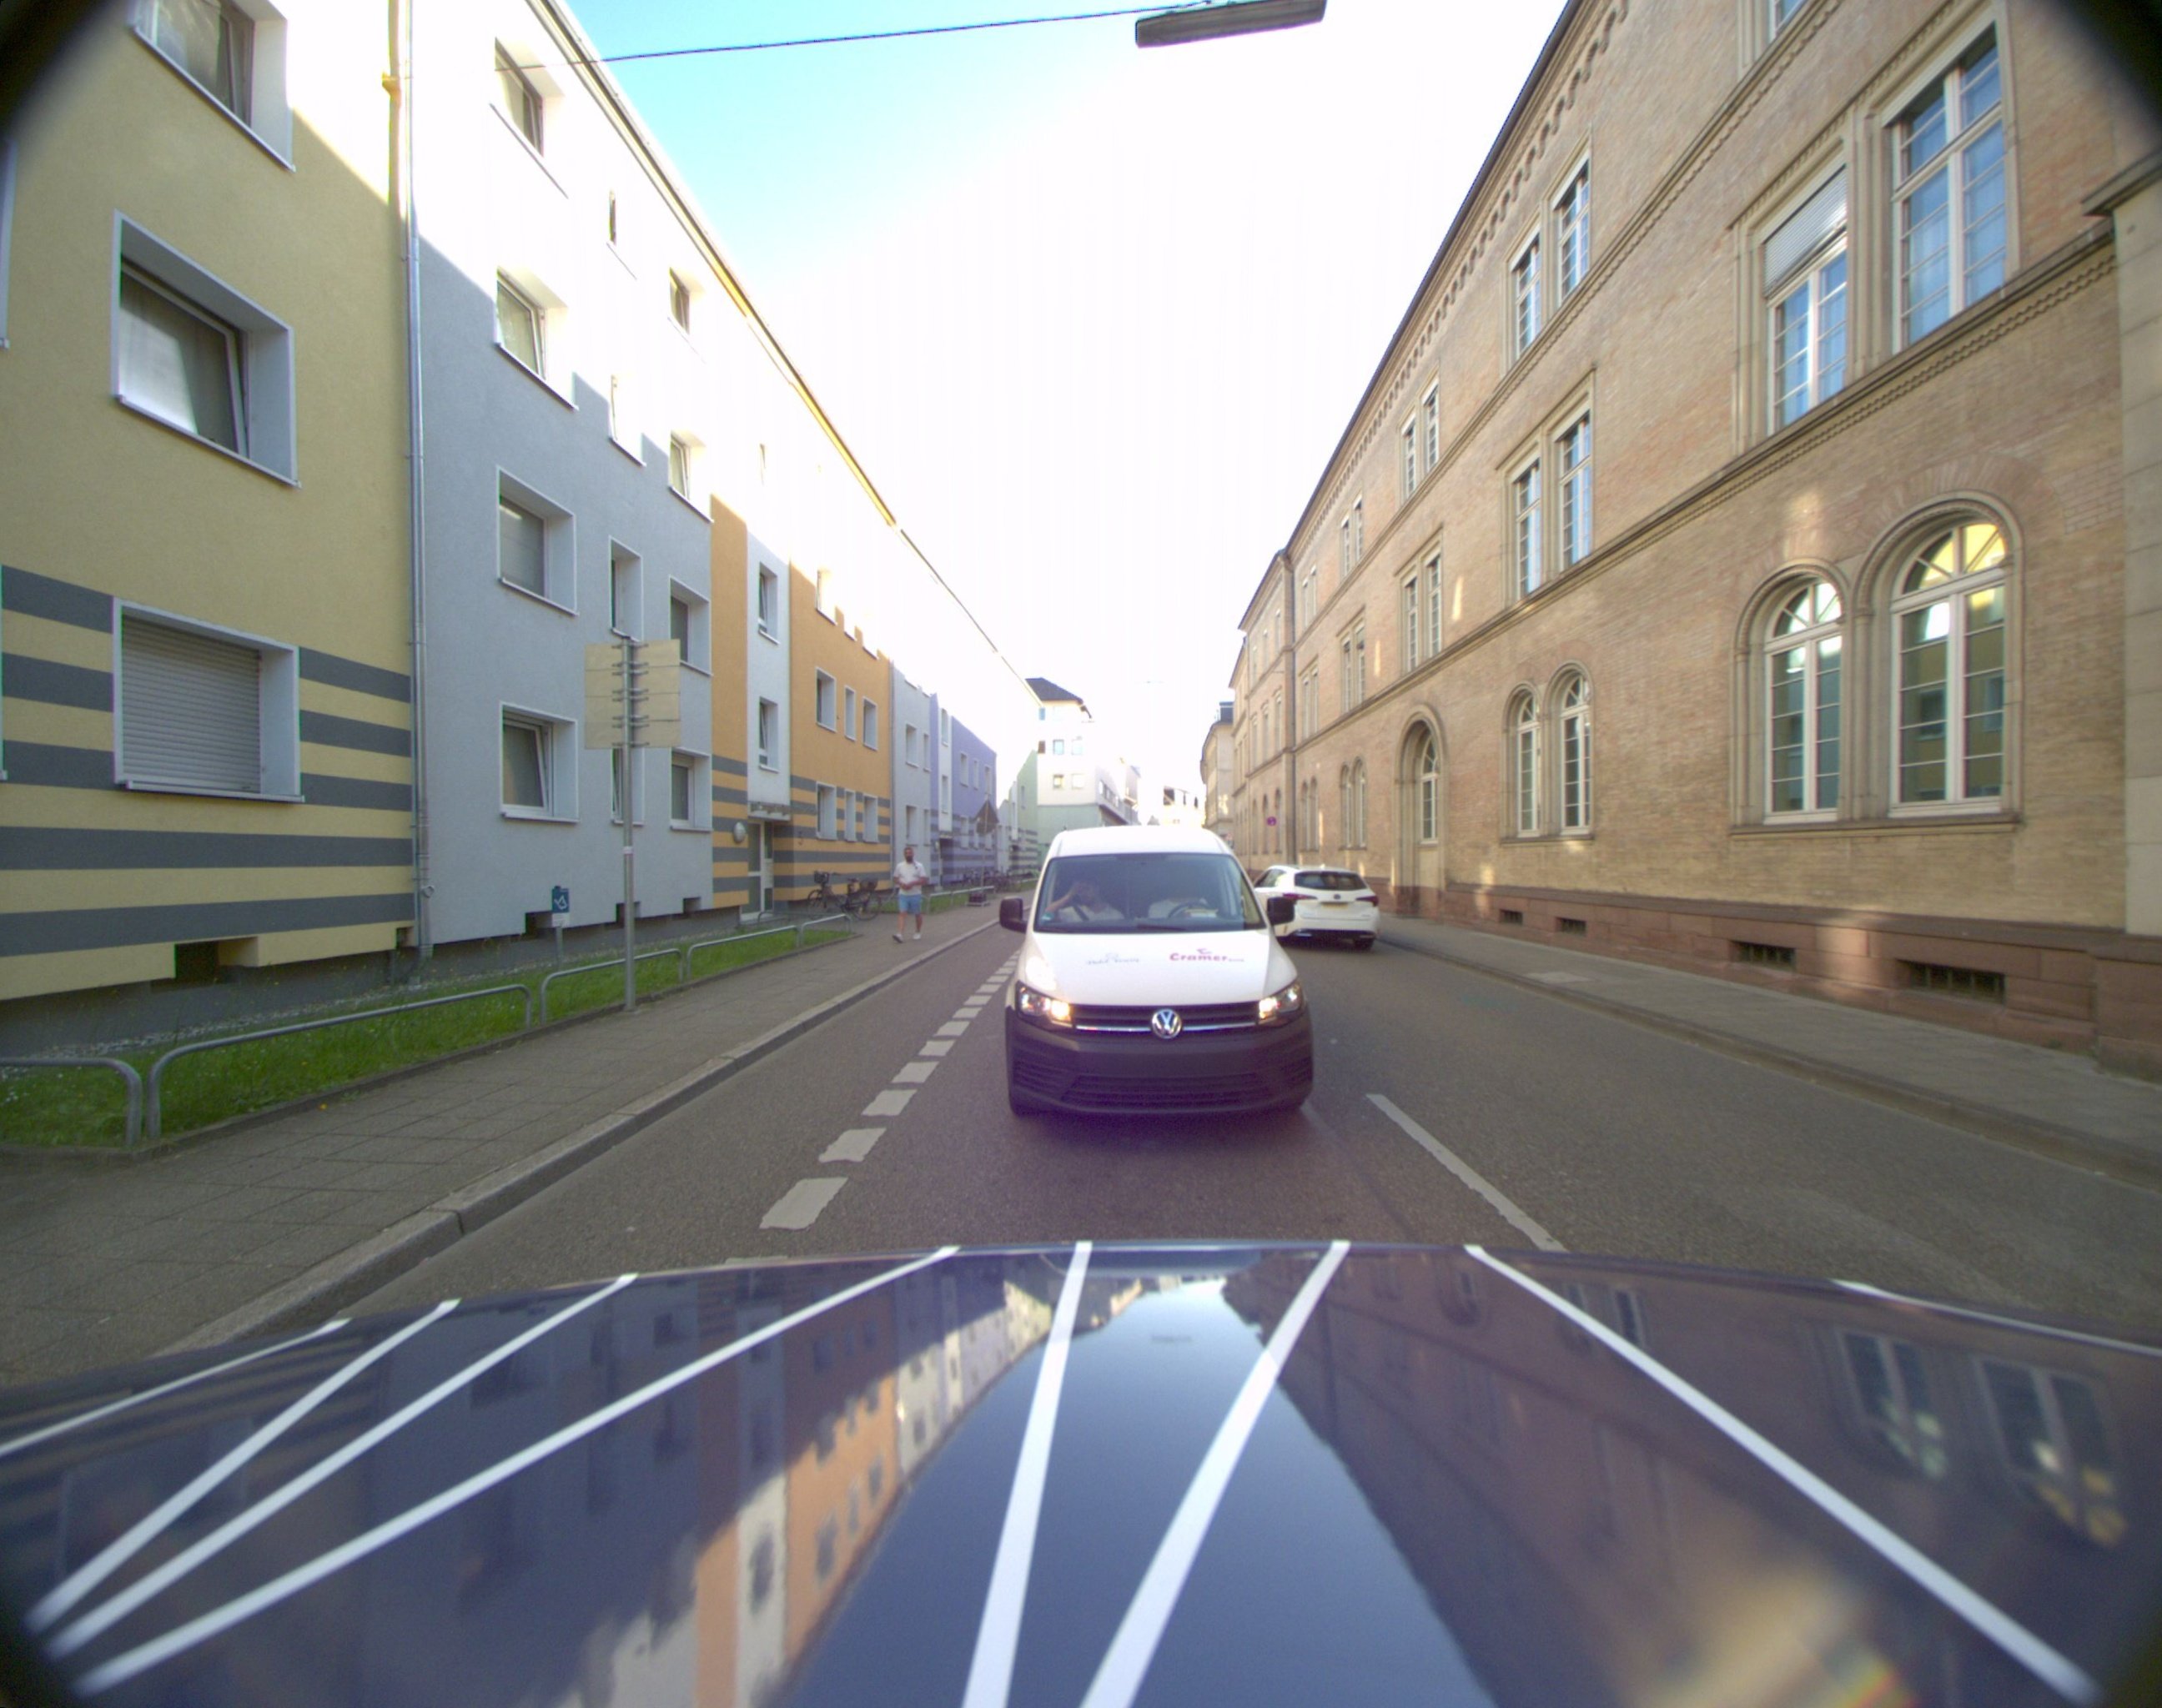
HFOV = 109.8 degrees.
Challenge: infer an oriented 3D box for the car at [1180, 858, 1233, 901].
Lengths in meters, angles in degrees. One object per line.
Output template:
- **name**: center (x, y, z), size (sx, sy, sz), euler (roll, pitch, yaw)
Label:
- **car**: center (5.043, 0.987, 30.973), size (1.689, 1.573, 4.276), euler (2, 0, 4)

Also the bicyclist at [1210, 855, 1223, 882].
- **bicyclist**: center (7.262, 0.798, 40.766), size (0.604, 1.434, 0.578), euler (0, 0, 4)

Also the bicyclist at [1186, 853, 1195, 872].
- **bicyclist**: center (9.480, 0.718, 65.517), size (0.651, 1.558, 0.961), euler (2, 0, 4)

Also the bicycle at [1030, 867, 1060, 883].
- **bicycle**: center (-2.233, 1.340, 47.637), size (1.775, 0.934, 0.584), euler (1, 1, 7)

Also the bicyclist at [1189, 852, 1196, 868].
- **bicyclist**: center (10.853, 0.551, 74.118), size (0.651, 1.500, 1.112), euler (2, 0, 9)

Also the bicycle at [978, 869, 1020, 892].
- **bicycle**: center (-3.656, 1.163, 33.845), size (1.775, 0.934, 0.584), euler (1, 1, 7)

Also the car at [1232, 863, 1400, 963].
- **car**: center (4.213, 0.968, 14.443), size (1.891, 1.467, 4.545), euler (2, 0, 2)

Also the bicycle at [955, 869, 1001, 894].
- **bicycle**: center (-4.323, 1.134, 31.886), size (1.775, 0.990, 0.584), euler (1, 1, 7)

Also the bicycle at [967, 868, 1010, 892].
- **bicycle**: center (-4.046, 1.125, 33.229), size (1.775, 0.990, 0.584), euler (1, 1, 7)

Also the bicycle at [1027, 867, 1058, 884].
- **bicycle**: center (-2.312, 1.308, 46.100), size (1.775, 0.934, 0.584), euler (1, 1, 7)

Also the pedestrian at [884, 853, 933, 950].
- **pedestrian**: center (-3.057, 0.825, 13.546), size (0.644, 1.662, 0.834), euler (1, 0, 3)

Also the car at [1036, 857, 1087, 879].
- **car**: center (-1.591, 1.173, 63.504), size (3.995, 1.681, 1.901), euler (-2, 1, 5)

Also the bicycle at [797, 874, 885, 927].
- **bicycle**: center (-5.391, 1.032, 17.130), size (1.776, 1.118, 0.583), euler (1, 1, -1)

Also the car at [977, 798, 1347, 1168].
- **car**: center (0.437, 0.649, 6.434), size (1.819, 1.825, 5.341), euler (0, 0, 1)
